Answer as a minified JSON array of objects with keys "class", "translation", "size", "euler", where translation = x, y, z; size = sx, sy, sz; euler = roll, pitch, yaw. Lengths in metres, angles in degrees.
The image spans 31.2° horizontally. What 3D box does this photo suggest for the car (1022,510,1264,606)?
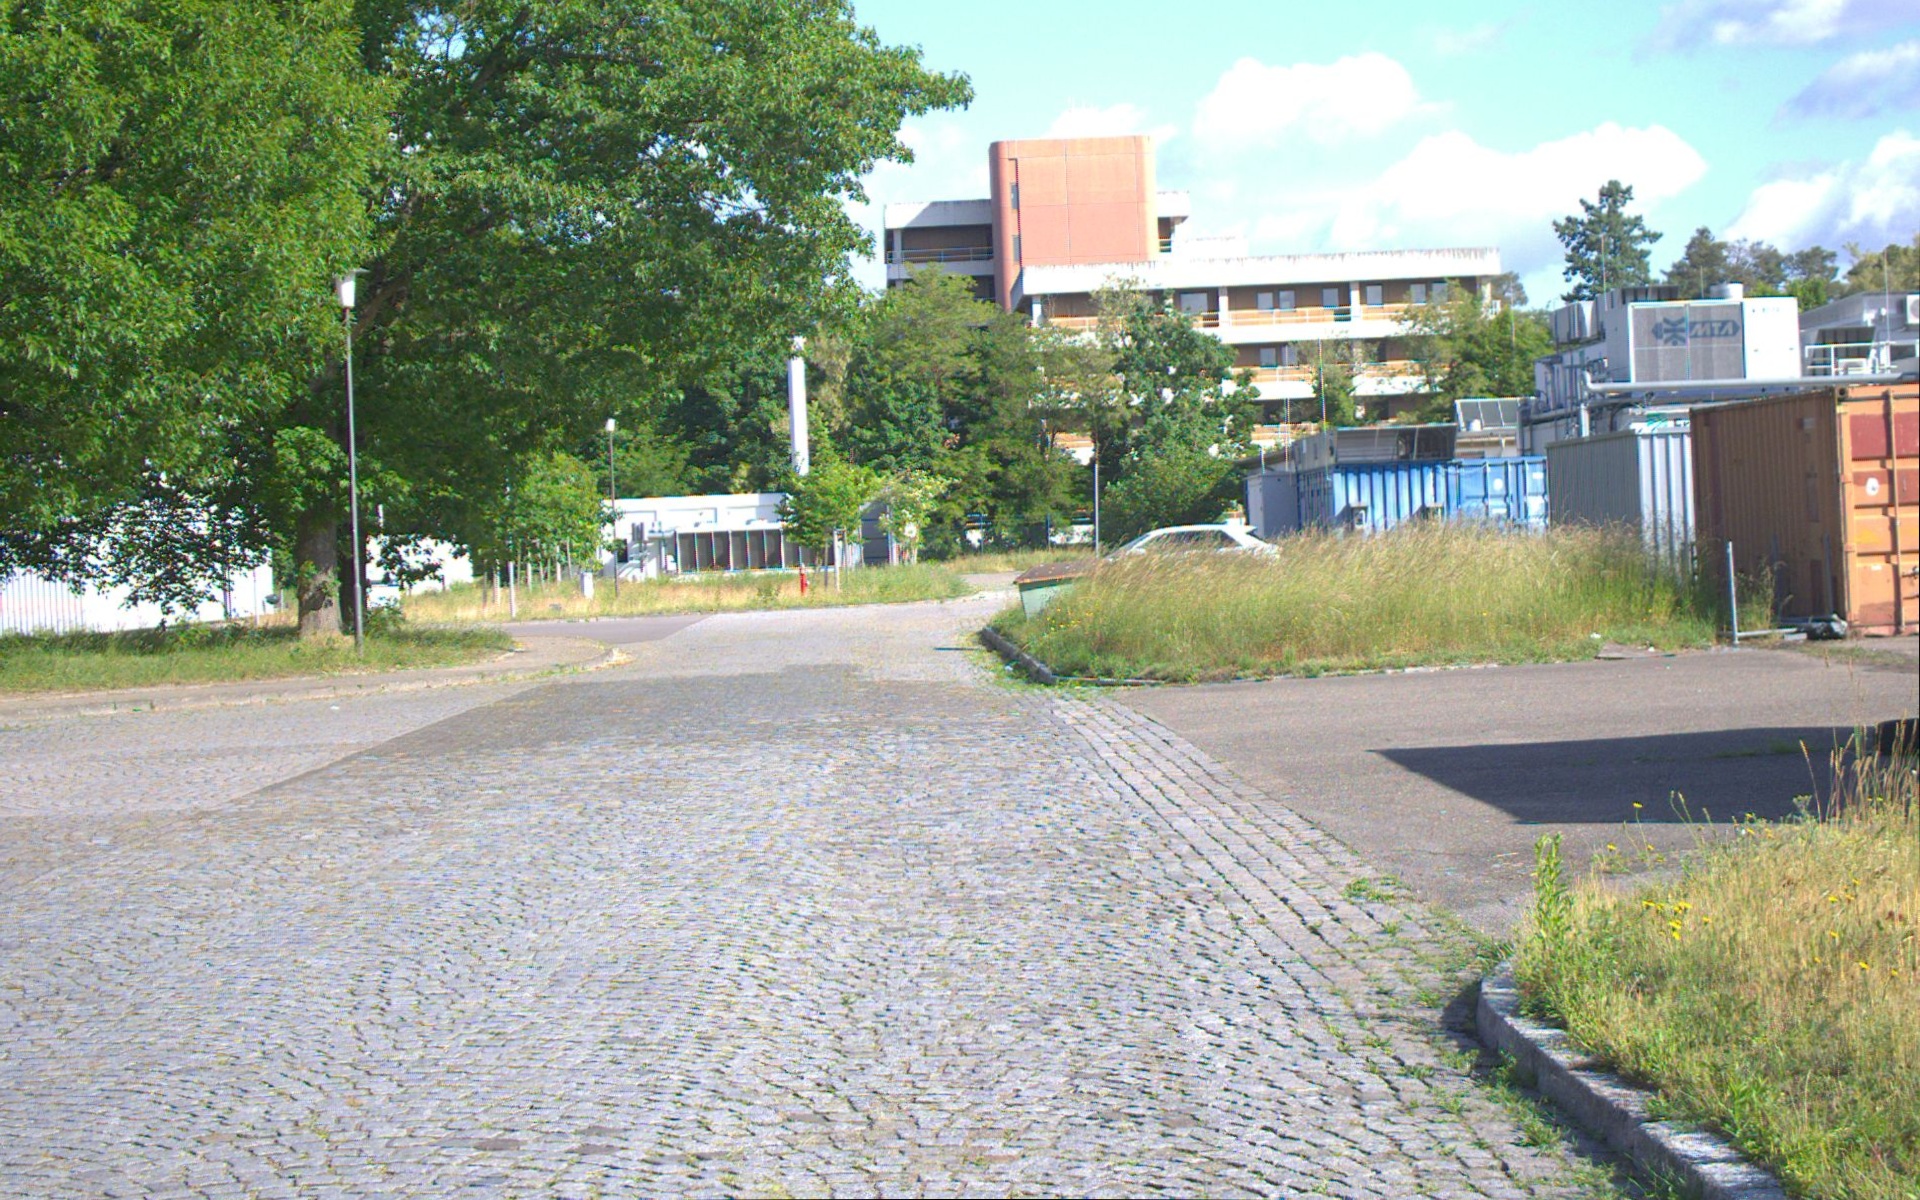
[{"class":"car","translation":[3.601,-0.844,68.202],"size":[4.587,1.672,1.875],"euler":[-2,1,-1]}]
